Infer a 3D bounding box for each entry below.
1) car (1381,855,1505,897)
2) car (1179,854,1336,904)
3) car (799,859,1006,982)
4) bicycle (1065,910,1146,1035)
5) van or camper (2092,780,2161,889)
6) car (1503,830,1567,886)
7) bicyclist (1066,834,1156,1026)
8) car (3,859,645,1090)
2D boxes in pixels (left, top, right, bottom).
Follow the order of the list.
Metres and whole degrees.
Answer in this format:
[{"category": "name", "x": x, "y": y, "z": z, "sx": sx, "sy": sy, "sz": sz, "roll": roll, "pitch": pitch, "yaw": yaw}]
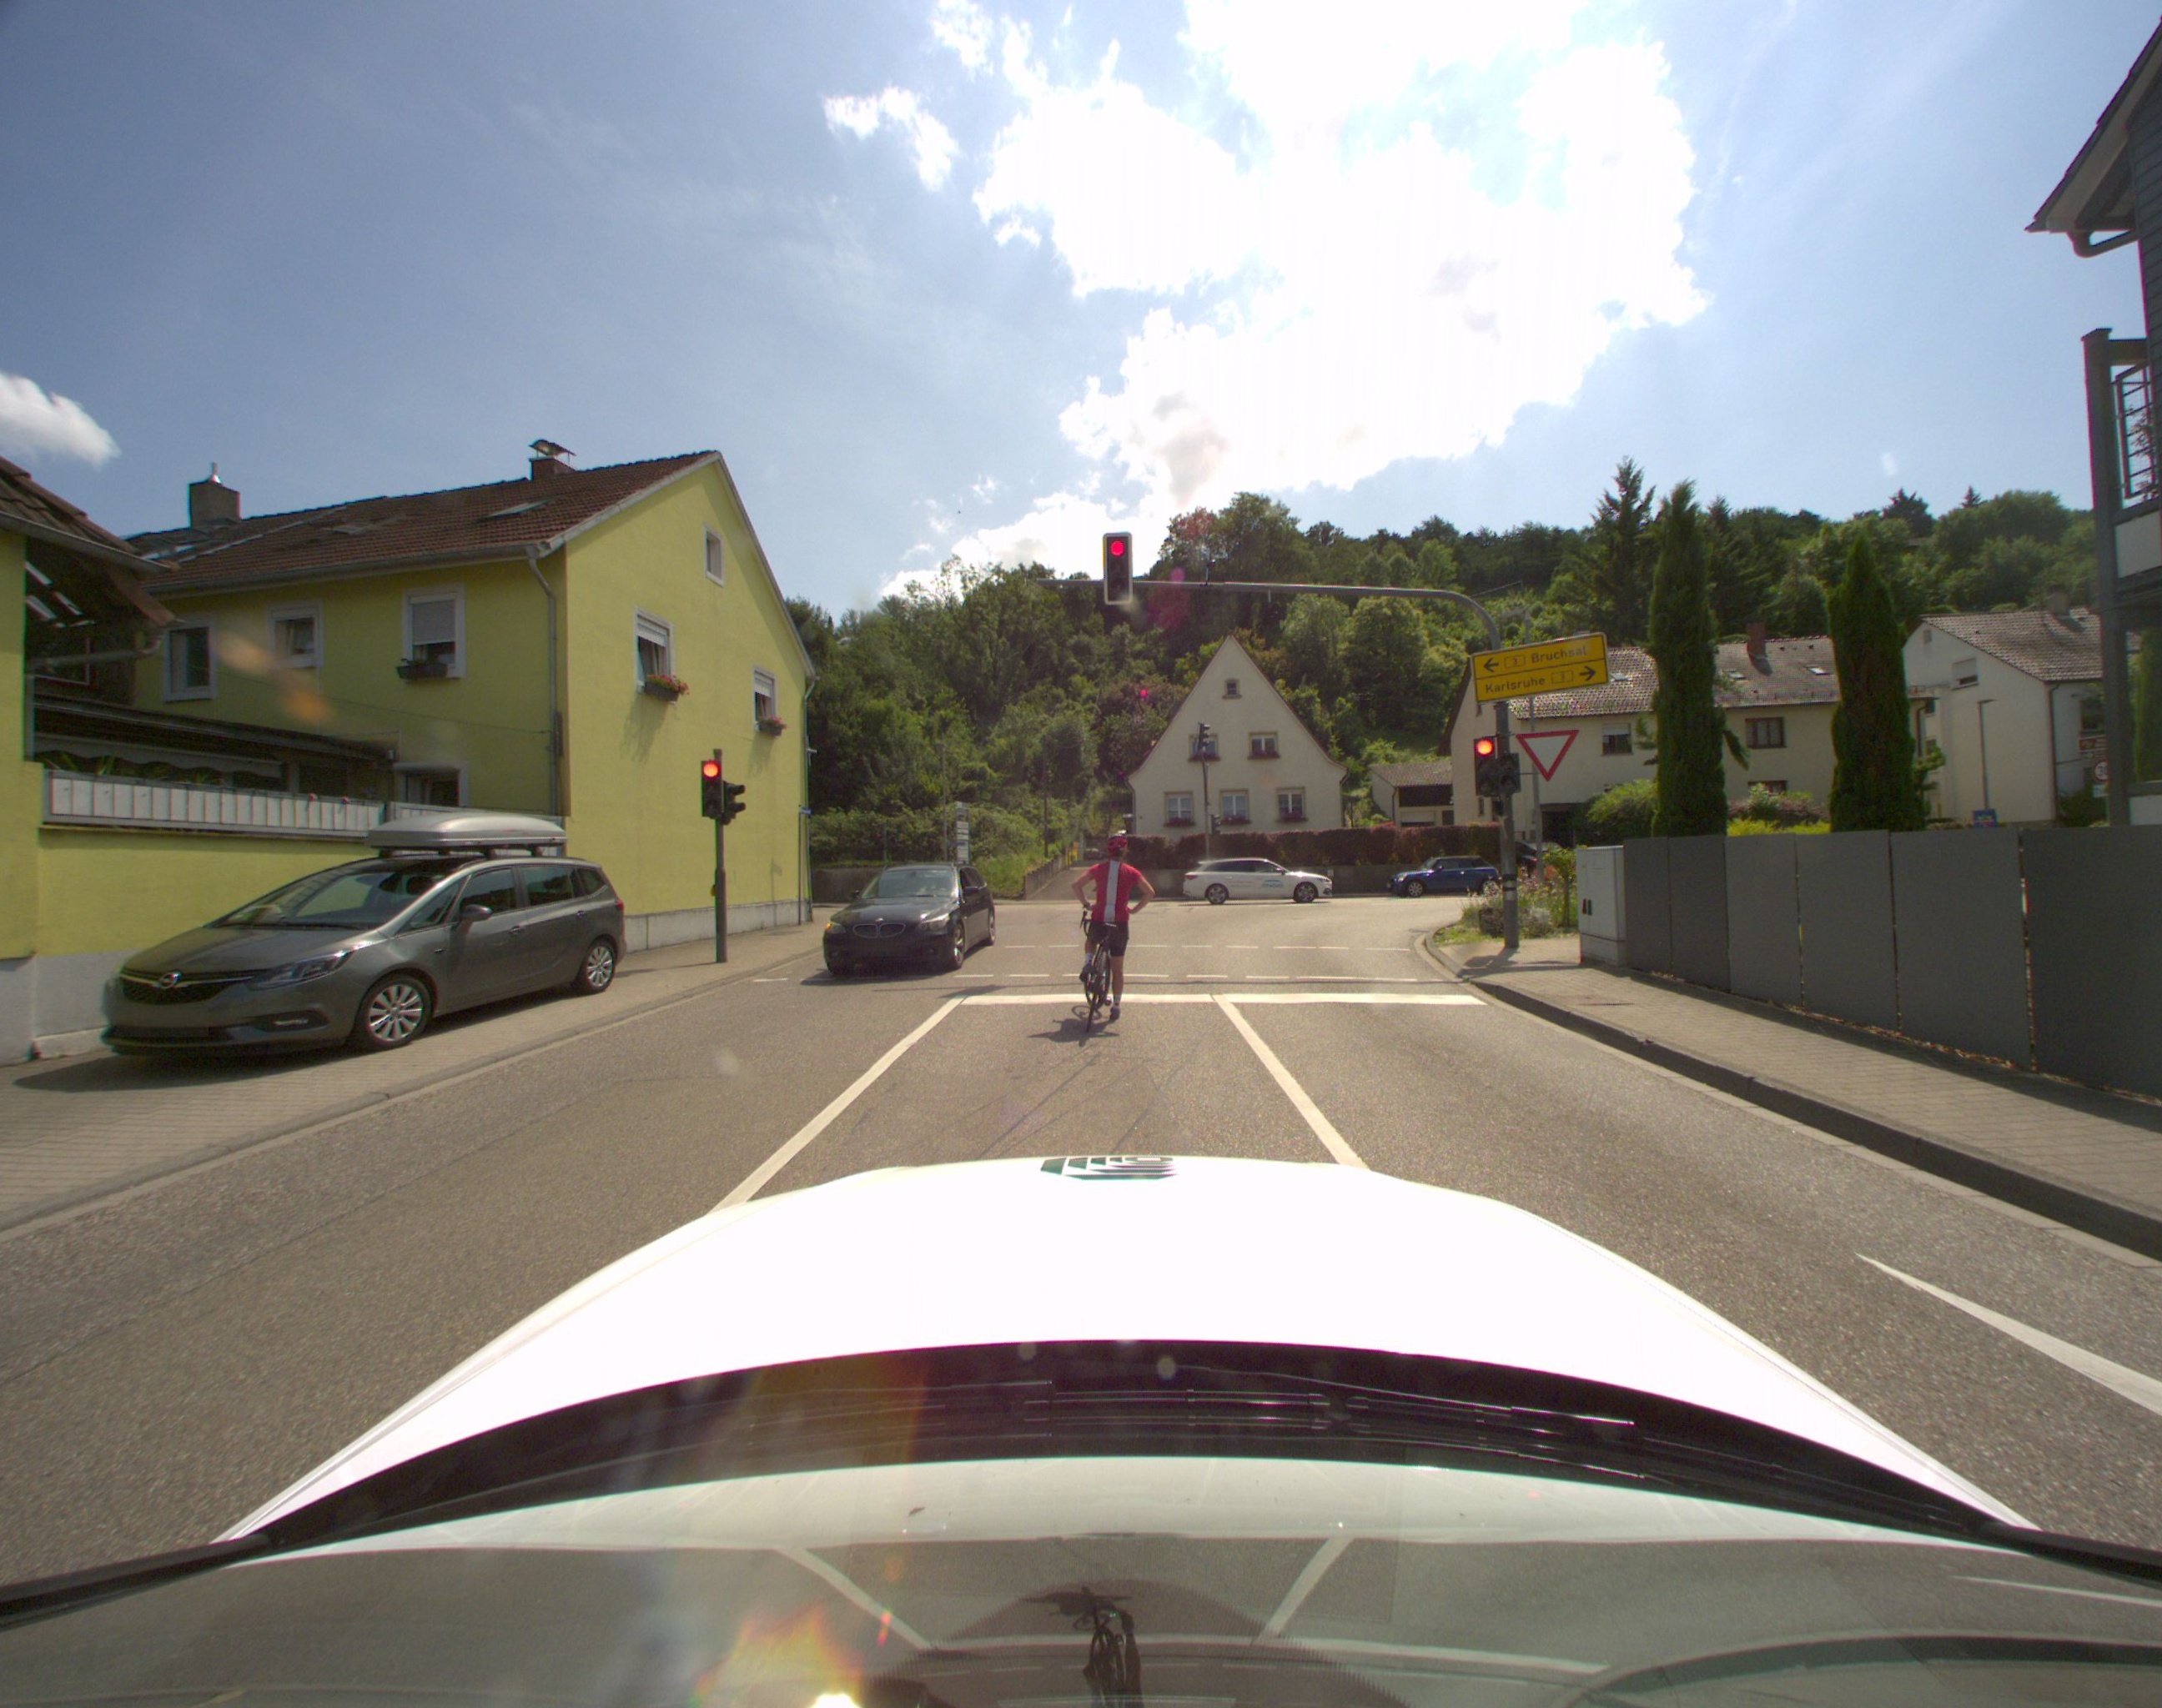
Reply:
[{"category": "car", "x": 12.495, "y": 0.791, "z": 28.288, "sx": 3.590, "sy": 1.363, "sz": 1.647, "roll": -1, "pitch": -3, "yaw": 5}, {"category": "car", "x": 5.487, "y": 0.817, "z": 25.703, "sx": 4.637, "sy": 1.427, "sz": 1.932, "roll": -1, "pitch": -2, "yaw": 8}, {"category": "car", "x": -2.485, "y": 0.862, "z": 12.660, "sx": 1.855, "sy": 1.442, "sz": 4.675, "roll": -3, "pitch": 0, "yaw": 3}, {"category": "bicycle", "x": 0.185, "y": 1.025, "z": 7.489, "sx": 0.628, "sy": 0.905, "sz": 1.655, "roll": 0, "pitch": 0, "yaw": -2}, {"category": "van or camper", "x": 32.920, "y": -0.600, "z": 22.684, "sx": 5.957, "sy": 3.005, "sz": 2.224, "roll": -1, "pitch": -1, "yaw": 9}, {"category": "car", "x": 18.444, "y": 0.117, "z": 33.243, "sx": 1.780, "sy": 1.388, "sz": 3.709, "roll": -2, "pitch": 13, "yaw": 21}, {"category": "bicyclist", "x": 0.252, "y": 0.659, "z": 7.541, "sx": 0.759, "sy": 1.664, "sz": 0.868, "roll": 0, "pitch": 0, "yaw": -3}, {"category": "car", "x": -6.676, "y": 0.877, "z": 8.158, "sx": 1.986, "sy": 1.635, "sz": 4.632, "roll": 0, "pitch": 0, "yaw": 2}]
